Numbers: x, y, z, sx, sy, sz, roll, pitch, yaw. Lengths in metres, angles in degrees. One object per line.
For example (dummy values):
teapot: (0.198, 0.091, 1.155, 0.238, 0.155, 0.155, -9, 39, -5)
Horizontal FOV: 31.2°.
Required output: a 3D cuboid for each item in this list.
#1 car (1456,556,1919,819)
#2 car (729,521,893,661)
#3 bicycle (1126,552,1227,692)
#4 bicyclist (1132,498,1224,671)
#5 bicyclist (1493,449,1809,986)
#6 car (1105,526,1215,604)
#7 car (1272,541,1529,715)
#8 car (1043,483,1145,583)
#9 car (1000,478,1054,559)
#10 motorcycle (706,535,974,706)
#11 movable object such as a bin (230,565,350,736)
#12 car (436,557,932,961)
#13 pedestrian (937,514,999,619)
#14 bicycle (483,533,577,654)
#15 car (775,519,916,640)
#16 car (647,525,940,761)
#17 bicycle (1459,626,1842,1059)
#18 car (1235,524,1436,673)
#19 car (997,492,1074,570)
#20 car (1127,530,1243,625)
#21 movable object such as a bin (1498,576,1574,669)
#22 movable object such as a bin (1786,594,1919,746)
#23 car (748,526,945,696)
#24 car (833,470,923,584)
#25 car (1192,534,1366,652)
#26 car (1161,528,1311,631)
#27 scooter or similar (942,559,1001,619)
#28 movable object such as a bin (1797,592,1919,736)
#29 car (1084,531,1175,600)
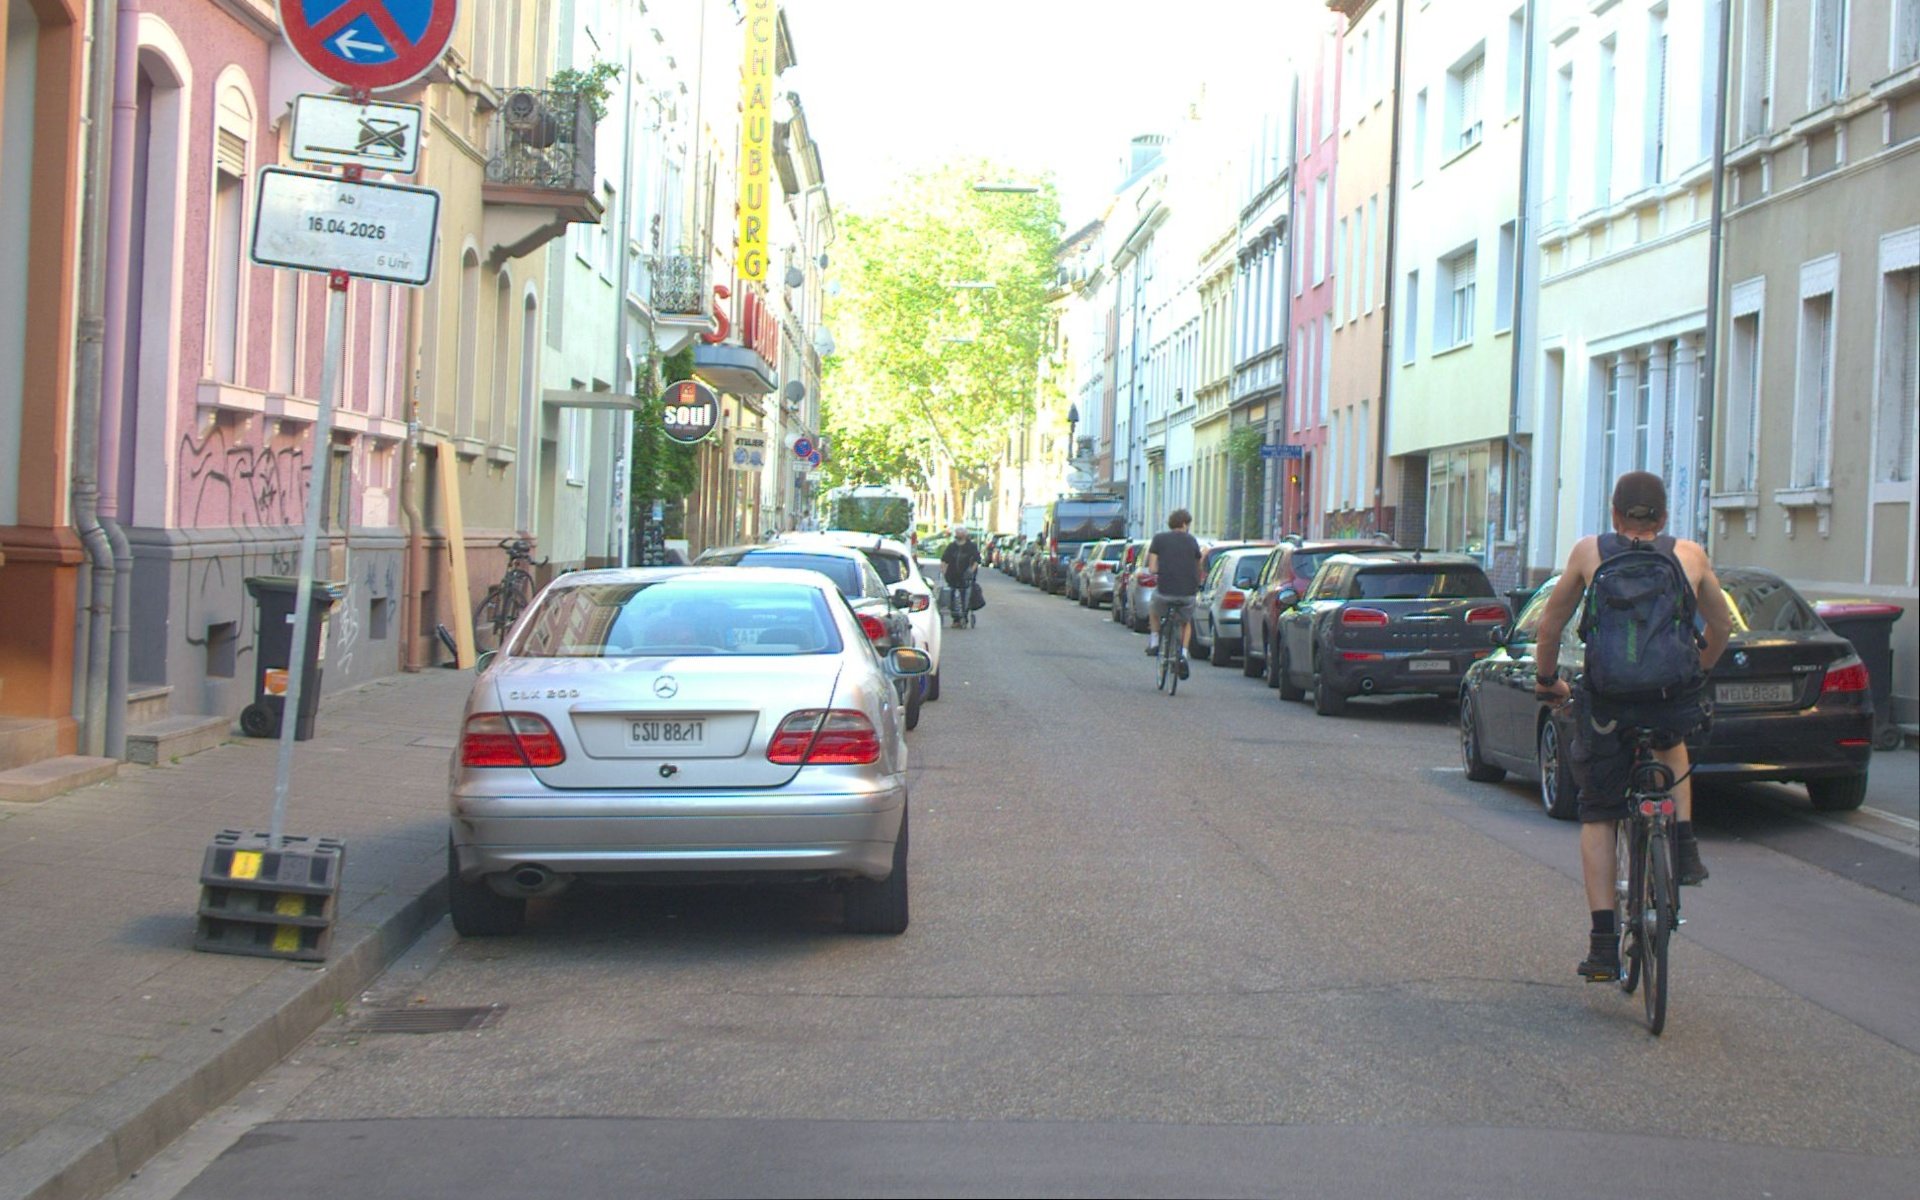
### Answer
car: (4.370, 0.451, 21.332, 1.817, 1.433, 4.791, 0, 1, -1)
car: (-1.563, -0.121, 37.097, 1.672, 1.437, 3.768, 0, 1, -1)
bicycle: (2.090, 0.190, 33.468, 0.702, 1.203, 2.342, 4, 2, -1)
bicyclist: (2.109, -0.161, 33.367, 0.702, 1.599, 0.813, 4, 2, -1)
bicyclist: (2.230, 0.360, 11.220, 0.702, 1.627, 1.090, 3, 0, -1)
car: (3.633, -0.652, 62.936, 1.710, 1.389, 4.000, 0, 1, -1)
car: (4.037, 0.215, 32.070, 1.817, 1.516, 4.000, 0, 1, -1)
car: (3.462, -1.746, 90.219, 2.307, 2.529, 6.770, 0, 1, -1)
car: (3.148, -3.833, 163.032, 2.307, 3.755, 6.770, 0, 1, -1)
motorcycle: (-0.991, 0.158, 28.503, 2.146, 1.354, 0.540, -1, 2, -18)
movable object such as a bin: (-3.857, 0.286, 19.816, 0.543, 0.941, 0.487, 3, 1, 0)
car: (-0.988, 0.522, 14.122, 1.710, 1.378, 4.506, 0, 1, -1)
pedestrian: (0.124, -0.526, 53.612, 0.770, 1.573, 0.900, 3, 1, -7)
bicycle: (-4.085, -0.080, 32.784, 0.592, 1.085, 2.079, 3, 1, -1)
car: (-1.391, -0.276, 42.757, 1.672, 1.437, 3.754, 0, 1, -1)
car: (-1.086, 0.230, 24.323, 1.710, 1.378, 4.356, 2, 2, 1)
bicycle: (2.223, 0.732, 11.398, 0.702, 1.204, 2.342, 3, 1, -1)
car: (4.078, -0.046, 37.845, 1.710, 1.551, 4.000, 0, 1, -1)
car: (2.504, -2.299, 115.659, 2.307, 2.529, 6.770, 0, 1, -1)
car: (3.751, -0.394, 57.755, 1.620, 1.545, 4.000, 0, 1, -1)
movable object such as a bin: (6.780, 0.261, 40.480, 0.807, 1.071, 0.677, 0, 1, 4)
movable object such as a bin: (6.514, 0.504, 25.104, 0.736, 1.071, 0.678, -1, 1, -7)
car: (-0.994, 0.061, 31.221, 1.672, 1.437, 4.166, 0, 1, -1)
car: (-1.904, -1.685, 78.822, 1.909, 2.488, 4.166, 1, 1, -3)
car: (3.886, -0.115, 42.423, 1.710, 1.378, 4.000, 0, 1, -1)
car: (3.813, -0.304, 48.054, 1.710, 1.378, 4.000, 0, 1, -1)
scooter or similar: (0.170, -0.168, 53.130, 0.770, 0.869, 0.771, 3, 1, -7)
movable object such as a bin: (6.849, 0.480, 26.187, 0.807, 1.071, 0.677, 0, 1, 4)
car: (3.661, -0.761, 74.576, 1.710, 1.442, 4.000, 0, 1, -1)
